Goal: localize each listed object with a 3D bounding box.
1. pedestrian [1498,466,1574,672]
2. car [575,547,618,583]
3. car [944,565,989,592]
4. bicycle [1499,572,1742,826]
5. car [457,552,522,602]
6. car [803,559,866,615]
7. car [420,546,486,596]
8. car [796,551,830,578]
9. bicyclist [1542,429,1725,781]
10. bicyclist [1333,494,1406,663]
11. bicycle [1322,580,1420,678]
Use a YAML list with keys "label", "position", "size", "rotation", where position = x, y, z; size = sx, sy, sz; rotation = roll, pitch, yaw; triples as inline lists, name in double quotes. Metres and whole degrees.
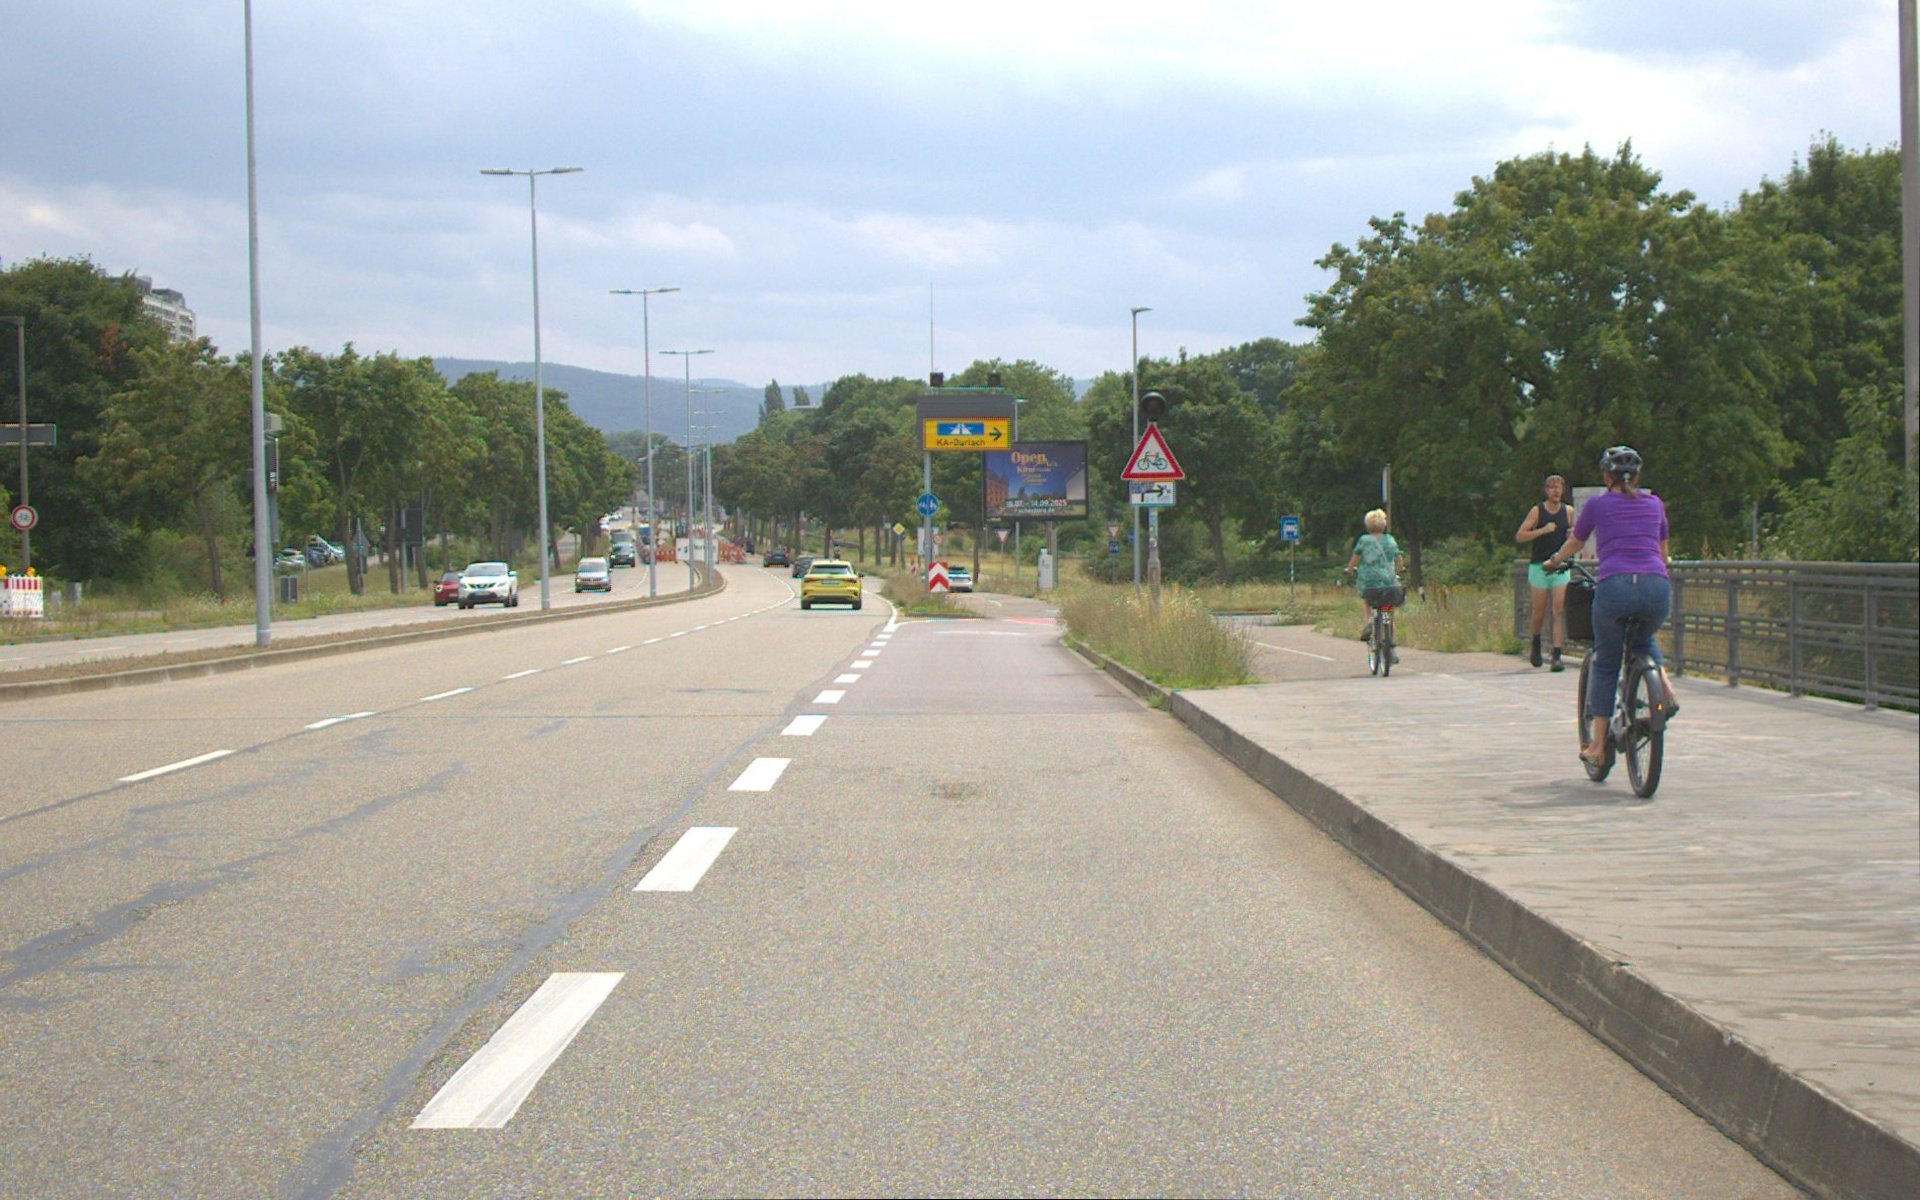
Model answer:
- label: "pedestrian"
  position: [5.671, -0.309, 33.879]
  size: [0.627, 2.006, 0.668]
  rotation: [0, 2, 0]
- label: "car"
  position: [-19.063, -1.841, 180.440]
  size: [1.902, 1.803, 4.540]
  rotation: [0, 2, -2]
- label: "car"
  position: [0.333, -1.076, 171.652]
  size: [2.013, 1.265, 4.001]
  rotation: [0, 2, -3]
- label: "bicycle"
  position: [3.409, 0.471, 17.971]
  size: [0.693, 1.188, 2.461]
  rotation: [-1, 1, -2]
- label: "car"
  position: [-16.409, -0.810, 120.139]
  size: [1.694, 1.623, 4.384]
  rotation: [0, 2, 0]
- label: "car"
  position: [-3.765, -0.400, 102.829]
  size: [1.793, 1.556, 4.001]
  rotation: [0, 2, -3]
- label: "car"
  position: [-20.546, -1.159, 139.540]
  size: [1.993, 1.875, 4.000]
  rotation: [4, 0, 0]
- label: "car"
  position: [-9.632, -2.326, 225.569]
  size: [2.206, 1.678, 4.001]
  rotation: [0, 2, -2]
- label: "bicyclist"
  position: [3.447, 0.014, 17.651]
  size: [0.703, 1.749, 0.991]
  rotation: [-1, 1, -2]
- label: "bicyclist"
  position: [4.063, -0.220, 34.154]
  size: [0.621, 1.660, 0.669]
  rotation: [0, 2, -2]
- label: "bicycle"
  position: [4.056, 0.268, 34.087]
  size: [0.623, 0.885, 2.155]
  rotation: [0, 2, -3]
